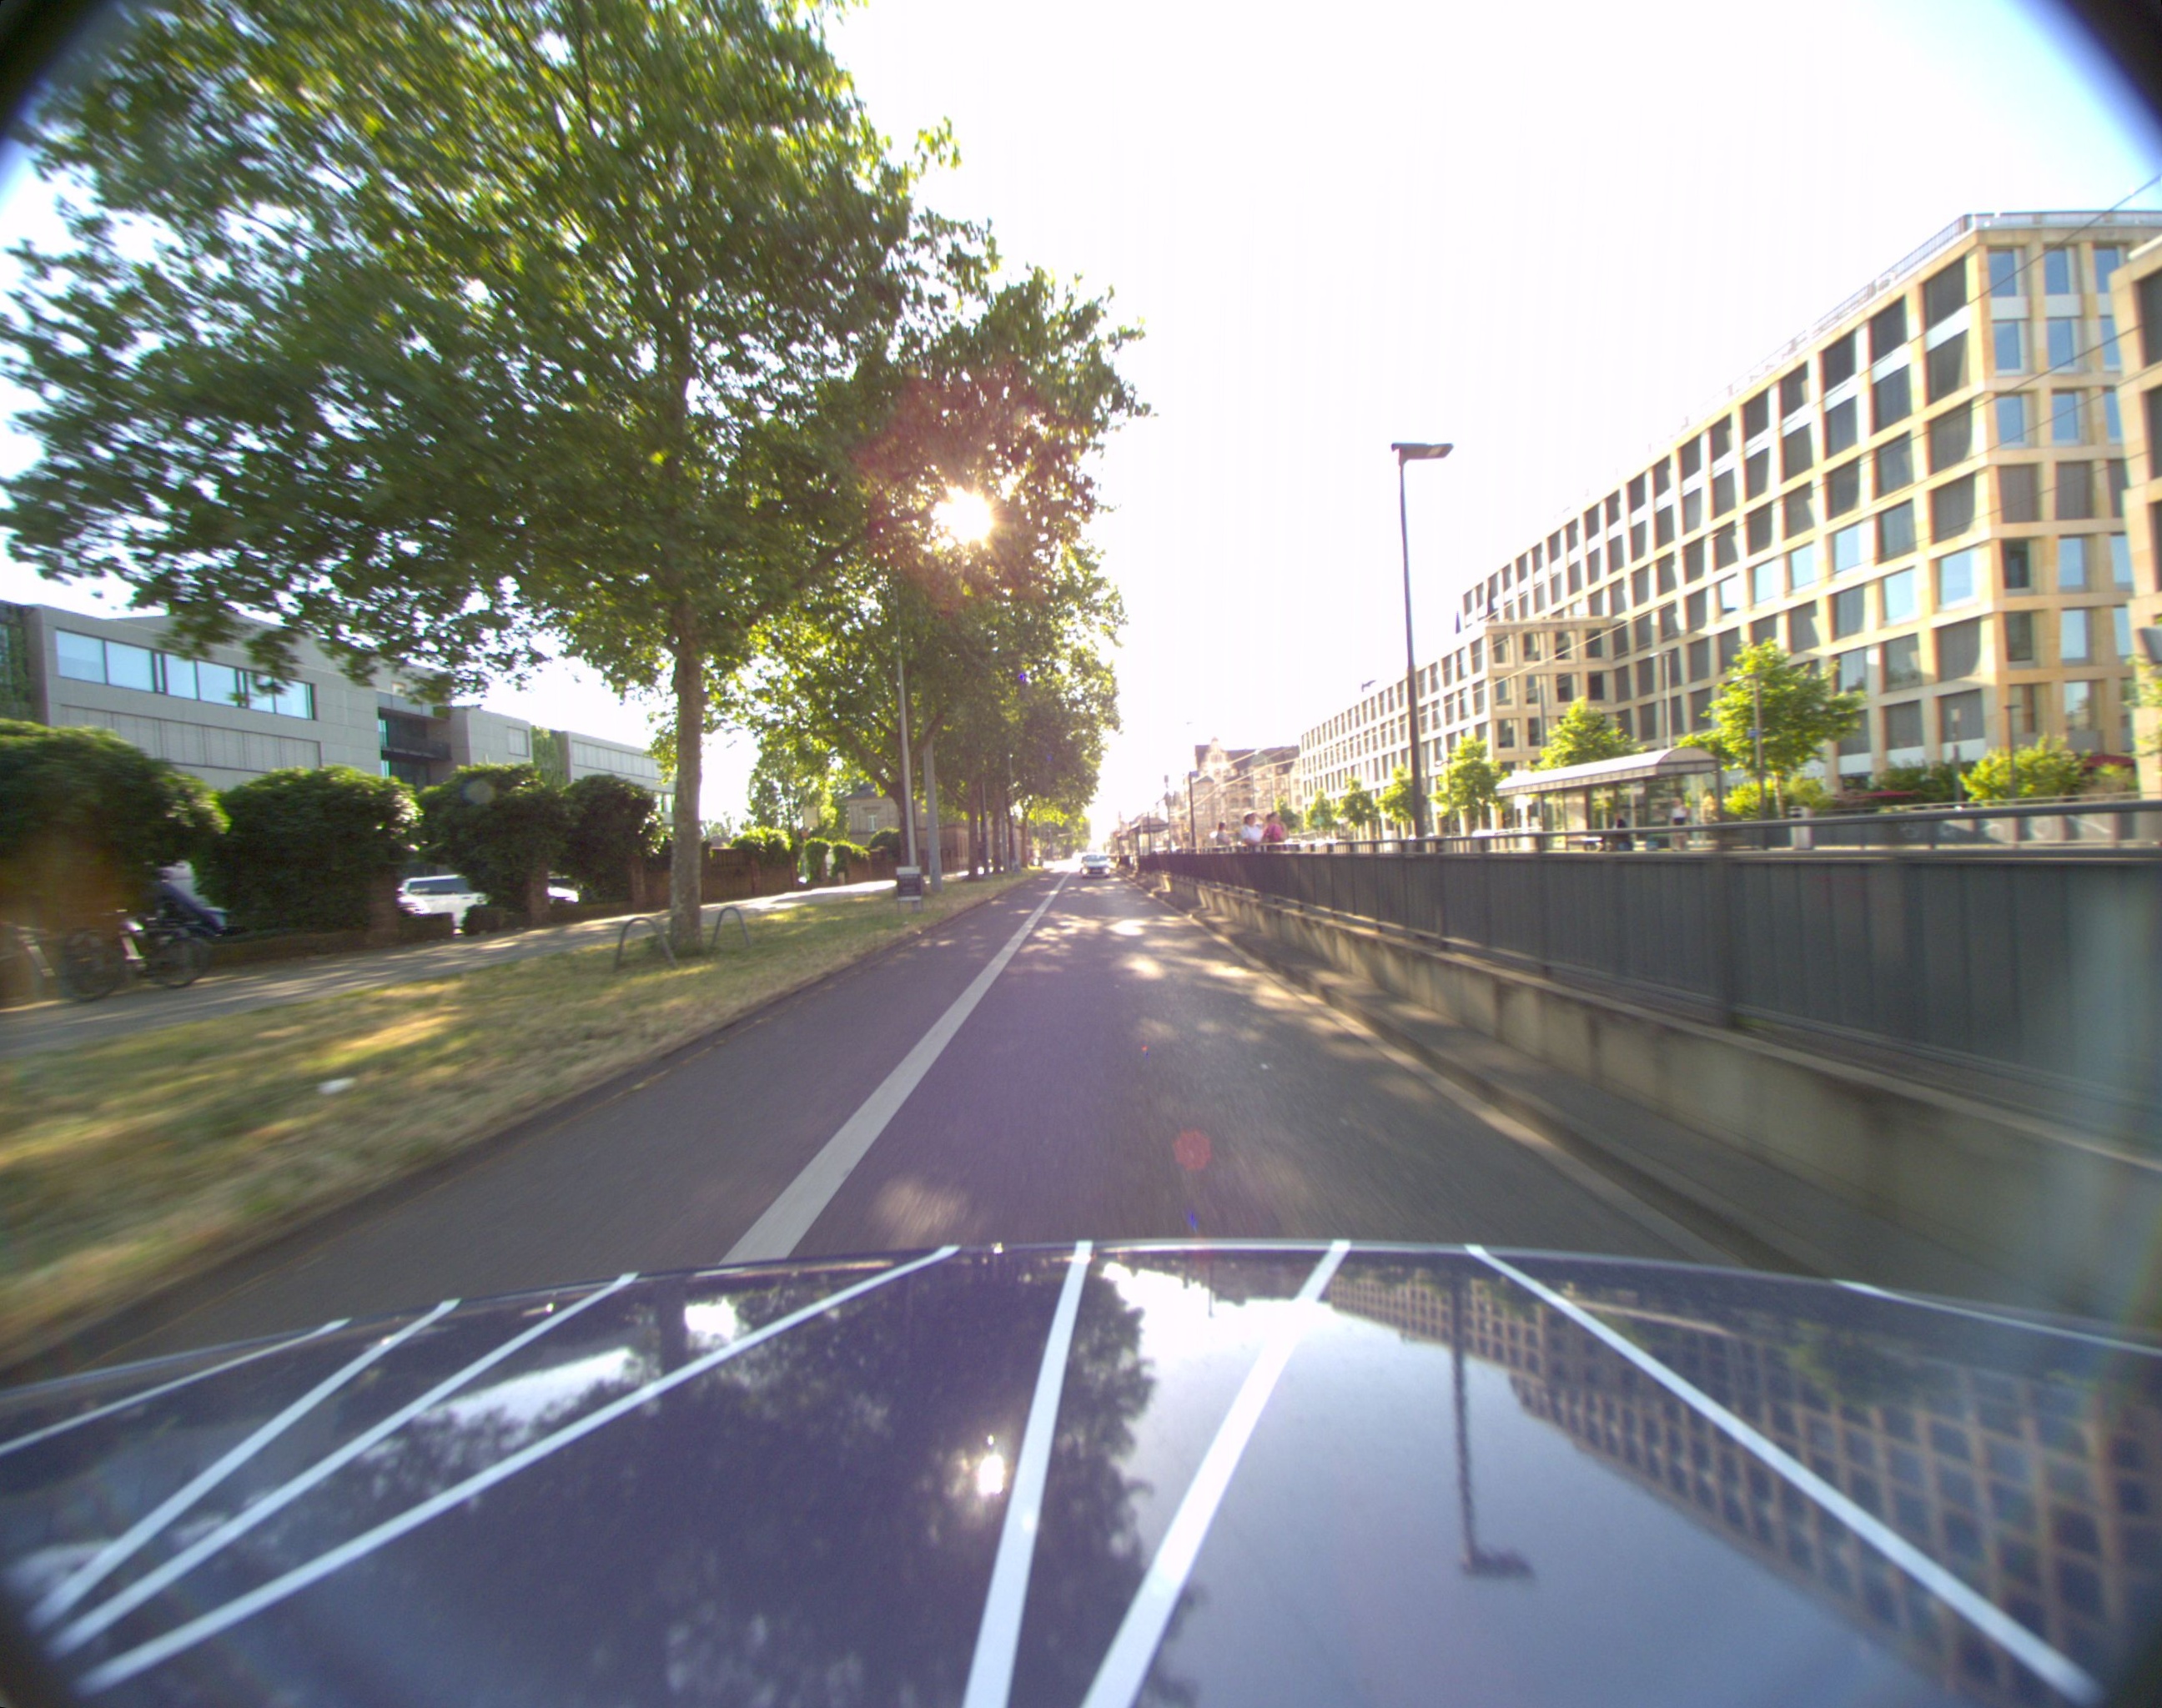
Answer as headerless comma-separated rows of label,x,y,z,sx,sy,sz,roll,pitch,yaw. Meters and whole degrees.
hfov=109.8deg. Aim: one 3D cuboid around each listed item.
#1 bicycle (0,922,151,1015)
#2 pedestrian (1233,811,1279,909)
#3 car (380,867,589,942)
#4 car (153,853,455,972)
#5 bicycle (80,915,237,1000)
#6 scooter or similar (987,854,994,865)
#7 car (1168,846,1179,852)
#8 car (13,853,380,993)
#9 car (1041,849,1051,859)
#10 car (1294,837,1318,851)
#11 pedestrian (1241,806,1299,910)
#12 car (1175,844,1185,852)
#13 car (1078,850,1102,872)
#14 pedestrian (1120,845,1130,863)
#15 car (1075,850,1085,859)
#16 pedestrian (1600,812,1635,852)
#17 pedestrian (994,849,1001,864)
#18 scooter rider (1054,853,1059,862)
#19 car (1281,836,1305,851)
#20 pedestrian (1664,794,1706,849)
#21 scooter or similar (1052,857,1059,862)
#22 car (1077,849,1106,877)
bicycle,-13.443,1.505,10.012,1.777,1.114,0.439,-2,1,0
pedestrian,3.100,0.102,13.511,0.613,1.659,0.613,-3,1,2
car,-19.869,1.649,25.476,5.276,1.970,2.000,-4,1,0
car,-19.690,1.426,19.446,5.474,2.476,2.000,-4,1,0
bicycle,-13.429,1.495,11.078,1.692,1.114,0.439,-2,1,0
scooter or similar,-10.196,0.612,85.814,0.720,1.149,0.759,-2,1,-6
car,22.970,-1.236,188.470,1.741,1.516,3.998,-5,0,-5
car,-19.107,1.422,16.621,5.474,2.476,2.000,-4,1,0
car,-8.242,0.012,179.615,1.833,2.034,4.000,-4,1,4
car,26.096,-1.137,88.233,1.649,1.553,3.650,-3,0,1
pedestrian,3.102,0.066,12.511,0.614,1.633,0.612,-4,1,-19
car,23.172,-1.404,177.804,1.780,1.660,3.999,-3,0,-1
car,0.705,0.507,58.687,1.648,1.555,3.666,-4,1,2
pedestrian,3.852,-0.018,66.794,0.747,1.500,0.666,-3,1,3
car,-0.111,0.083,154.580,1.833,1.645,3.999,-4,1,1
pedestrian,17.477,-0.718,24.759,0.616,1.253,0.724,-3,1,5
pedestrian,-9.471,0.298,86.027,0.771,1.734,0.796,-2,1,-6
scooter rider,-3.865,0.603,120.079,0.703,1.389,0.599,-3,1,0
car,26.281,-1.264,94.269,1.923,1.759,4.000,-3,0,1
pedestrian,17.561,-0.935,22.105,0.615,1.519,0.725,-3,1,9
scooter or similar,-4.015,0.901,119.997,1.023,0.807,0.265,-3,1,0
car,0.608,0.494,46.403,1.649,1.555,3.665,-3,1,0
